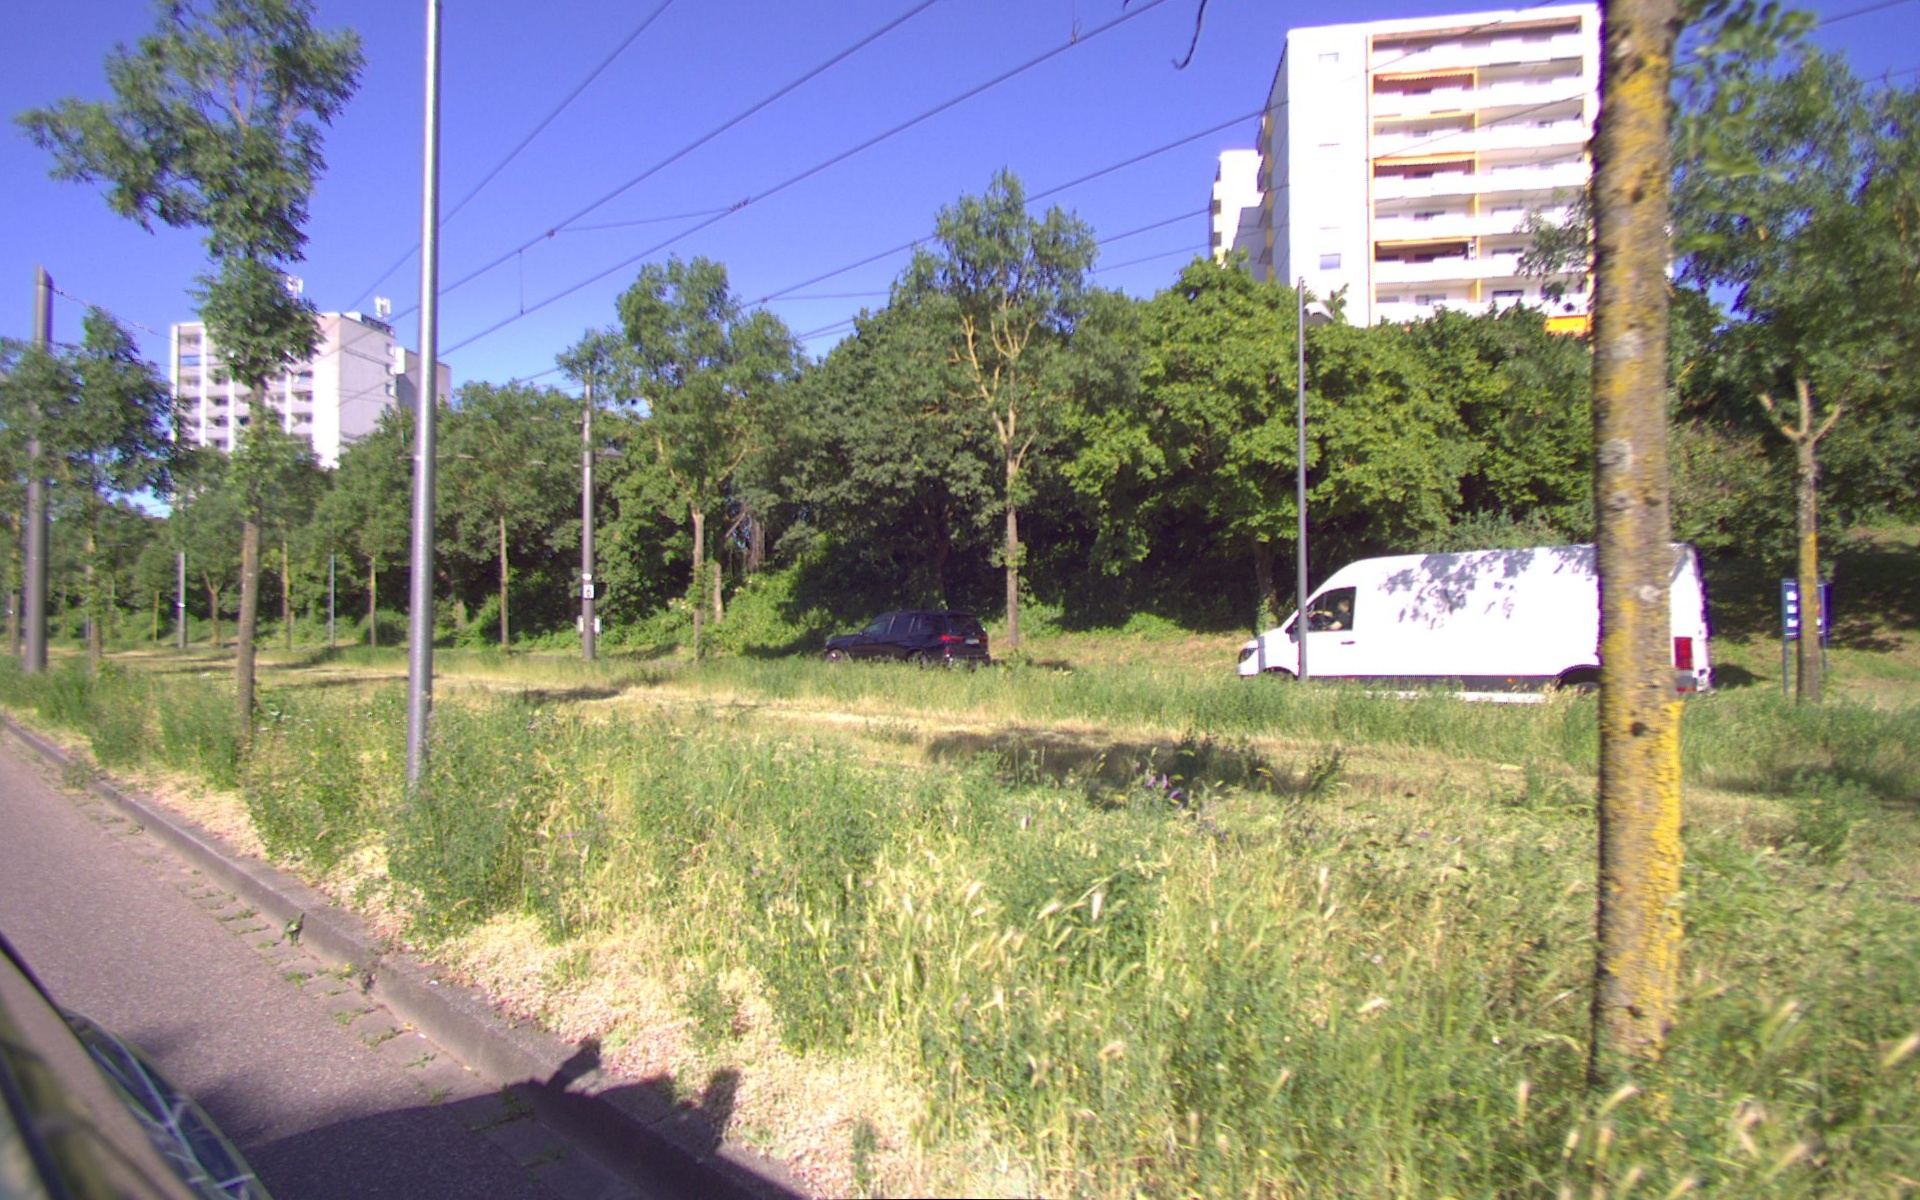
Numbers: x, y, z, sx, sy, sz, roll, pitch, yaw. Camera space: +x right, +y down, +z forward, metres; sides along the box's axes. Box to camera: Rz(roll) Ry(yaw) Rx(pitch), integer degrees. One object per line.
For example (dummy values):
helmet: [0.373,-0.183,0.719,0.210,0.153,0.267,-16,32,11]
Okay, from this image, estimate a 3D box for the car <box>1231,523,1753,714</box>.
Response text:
car: [7.864,0.286,15.697,6.876,2.387,2.018,-1,-1,41]

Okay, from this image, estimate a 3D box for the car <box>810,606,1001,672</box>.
car: [-1.569,1.001,27.140,5.271,1.596,1.972,-1,-1,42]
